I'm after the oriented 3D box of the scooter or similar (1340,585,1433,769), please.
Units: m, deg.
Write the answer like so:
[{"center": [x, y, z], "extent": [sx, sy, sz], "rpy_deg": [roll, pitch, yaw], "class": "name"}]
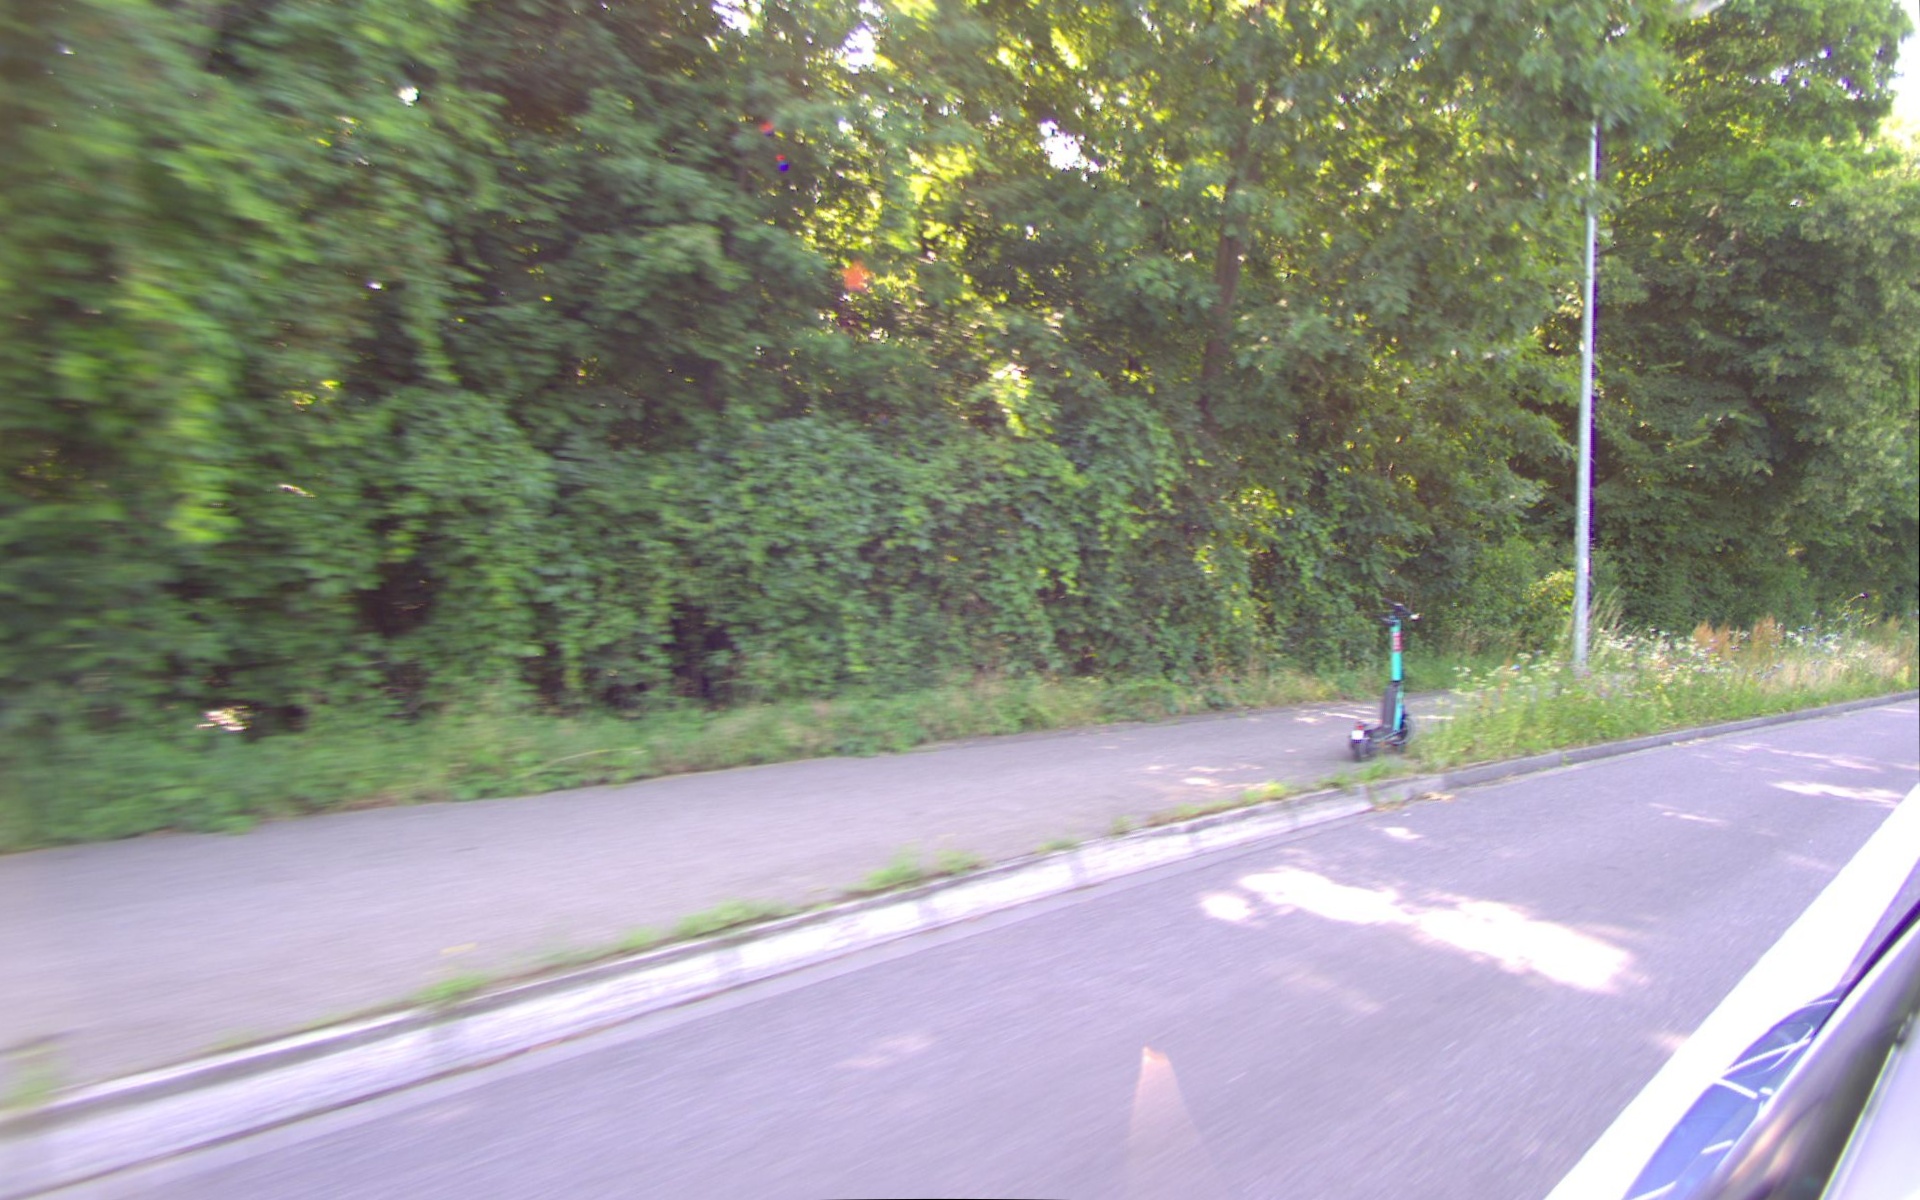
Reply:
[{"center": [3.394, 0.552, 8.002], "extent": [0.398, 1.323, 1.314], "rpy_deg": [2, 2, 34], "class": "scooter or similar"}]
